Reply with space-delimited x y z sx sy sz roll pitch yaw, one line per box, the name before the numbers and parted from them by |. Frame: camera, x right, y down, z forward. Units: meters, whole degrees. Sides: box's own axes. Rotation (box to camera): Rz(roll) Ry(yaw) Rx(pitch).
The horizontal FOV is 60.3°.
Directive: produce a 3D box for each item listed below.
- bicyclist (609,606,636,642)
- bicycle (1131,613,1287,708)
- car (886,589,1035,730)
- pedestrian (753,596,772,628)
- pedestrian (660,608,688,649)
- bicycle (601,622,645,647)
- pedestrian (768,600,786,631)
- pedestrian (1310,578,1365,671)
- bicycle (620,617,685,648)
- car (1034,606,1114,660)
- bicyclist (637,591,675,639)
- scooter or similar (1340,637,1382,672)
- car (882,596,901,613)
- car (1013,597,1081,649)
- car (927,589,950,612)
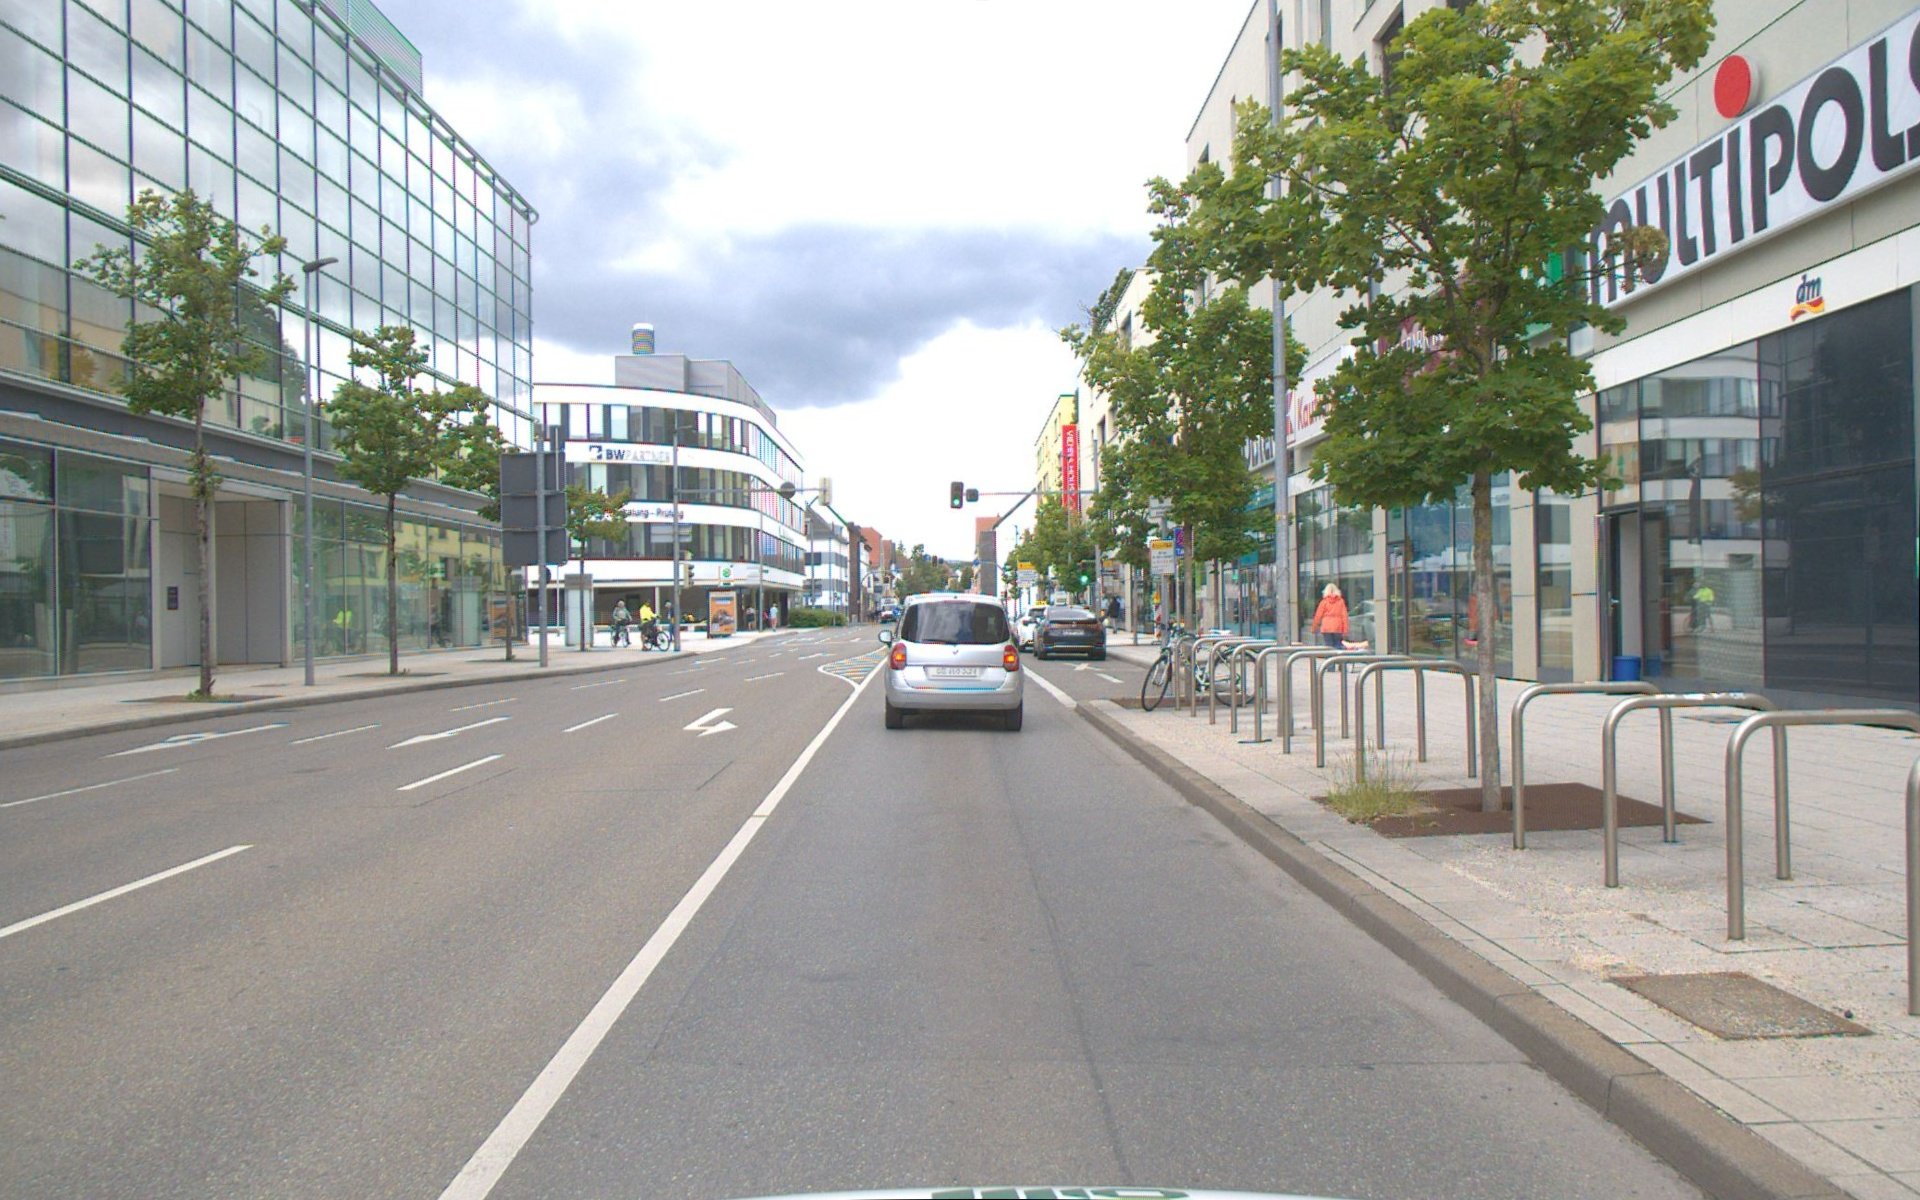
bicyclist | -12.990 0.908 63.653 0.820 1.350 0.644 -1 0 -34
bicycle | 3.102 0.746 20.703 1.788 1.093 0.752 -2 0 -3
car | -0.073 0.669 20.575 1.636 1.581 3.640 1 0 -3
pedestrian | -11.603 0.712 97.124 0.941 1.865 1.250 -1 0 -1
pedestrian | -13.388 1.308 77.347 1.224 1.865 0.961 -2 0 -11
bicycle | -12.983 1.319 63.648 0.819 0.914 2.496 -1 0 -33
pedestrian | -11.479 0.956 103.748 0.941 1.865 1.250 -1 0 -1
pedestrian | 6.787 0.427 29.783 0.696 1.601 0.812 -4 0 -1
bicycle | -11.057 1.153 59.394 0.999 1.036 3.088 2 -1 -37
car | 3.046 0.863 44.982 1.839 1.358 3.999 1 0 -1
bicyclist | -10.879 0.531 59.187 0.999 1.689 0.920 2 -1 -38
scooter or similar | 7.013 0.945 28.952 0.539 0.555 0.642 -4 0 -1
car | -8.478 0.500 204.644 2.126 2.049 4.257 -2 0 -1
car | 2.667 0.686 51.547 1.839 1.535 3.999 1 0 -1
car | -2.002 0.004 155.023 2.126 2.049 4.257 -2 0 -1
